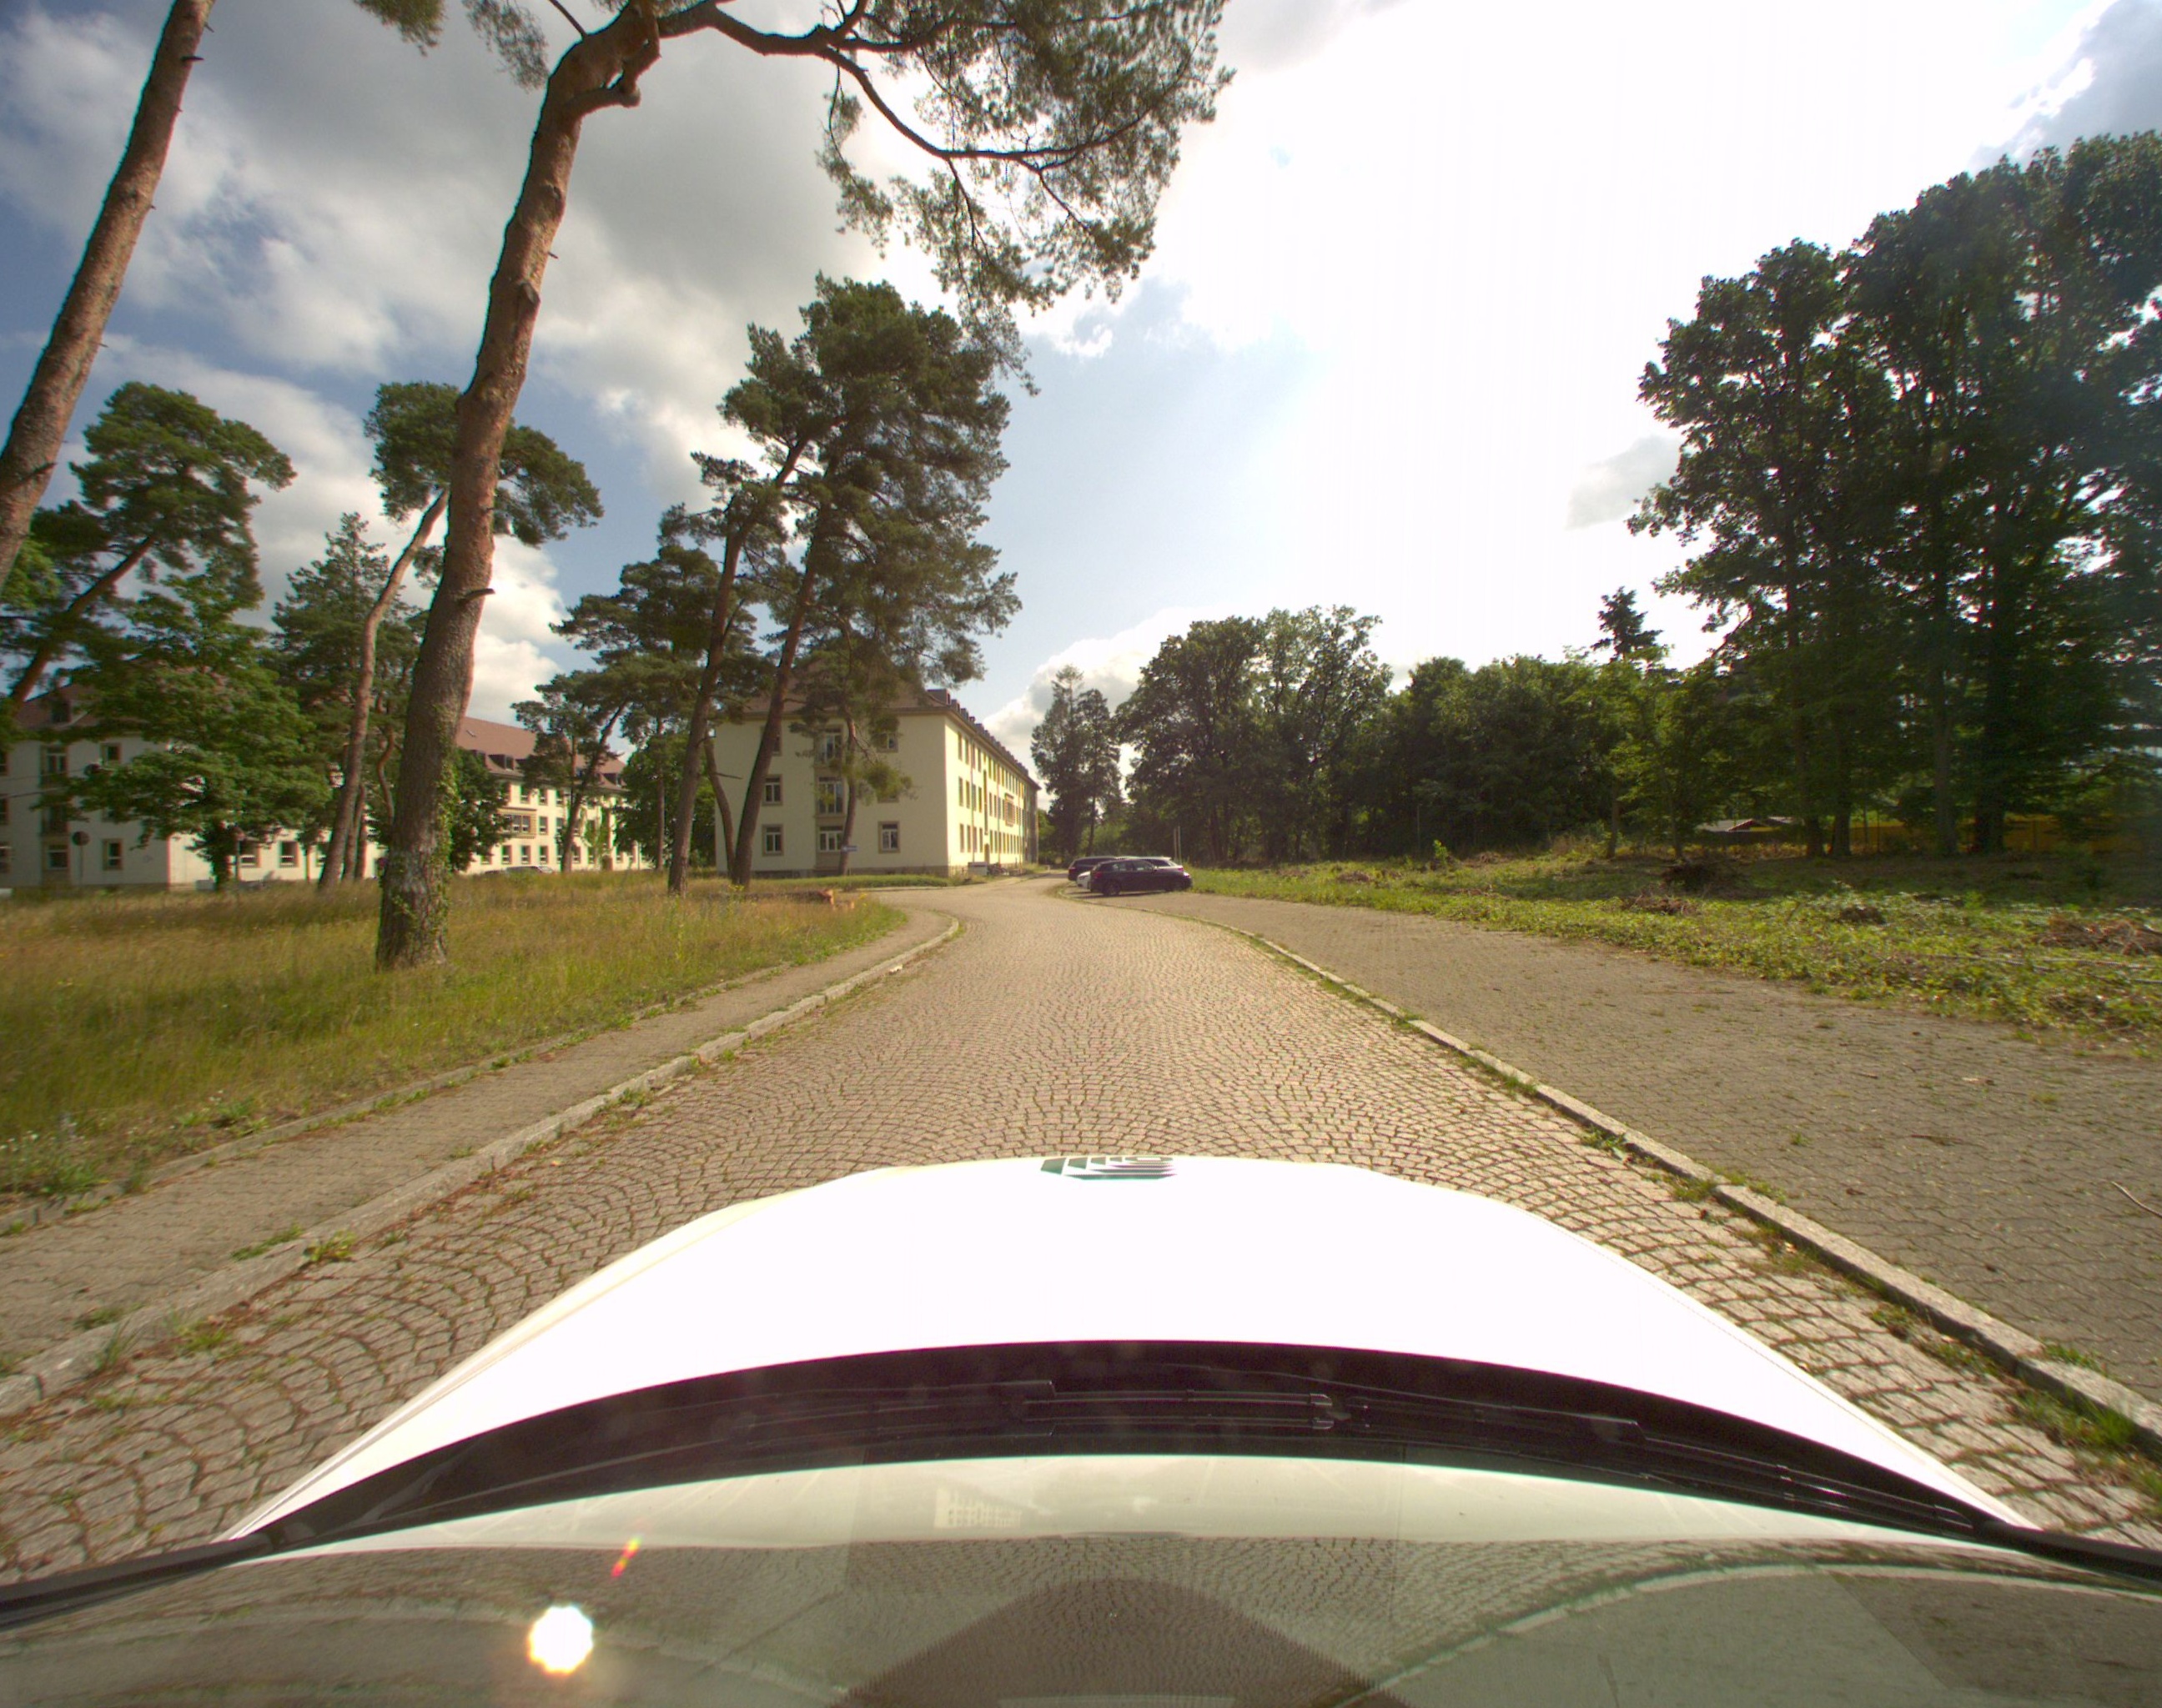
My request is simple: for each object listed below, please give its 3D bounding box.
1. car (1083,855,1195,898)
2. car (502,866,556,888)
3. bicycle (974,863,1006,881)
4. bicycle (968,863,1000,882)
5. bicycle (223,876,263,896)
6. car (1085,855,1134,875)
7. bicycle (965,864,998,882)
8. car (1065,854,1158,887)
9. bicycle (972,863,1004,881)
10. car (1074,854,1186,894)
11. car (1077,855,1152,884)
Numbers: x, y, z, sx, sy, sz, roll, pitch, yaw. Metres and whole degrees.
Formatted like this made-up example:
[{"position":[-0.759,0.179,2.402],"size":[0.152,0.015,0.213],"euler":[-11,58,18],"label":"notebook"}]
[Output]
[{"position":[2.336,0.884,33.457],"size":[4.319,1.500,1.826],"euler":[-3,0,-7],"label":"car"},{"position":[-53.315,2.237,78.702],"size":[4.043,1.991,1.714],"euler":[-2,-1,2],"label":"car"},{"position":[-6.840,1.355,61.190],"size":[2.212,1.260,0.624],"euler":[-2,-1,4],"label":"bicycle"},{"position":[-7.070,1.347,59.454],"size":[2.212,1.260,0.624],"euler":[-2,-1,4],"label":"bicycle"},{"position":[-48.290,1.835,46.939],"size":[0.486,1.101,1.592],"euler":[-2,-1,14],"label":"bicycle"},{"position":[2.532,0.957,72.157],"size":[4.169,1.543,1.822],"euler":[-3,-1,3],"label":"car"},{"position":[-7.135,1.352,58.611],"size":[2.209,1.260,0.624],"euler":[-2,-1,8],"label":"bicycle"},{"position":[1.613,0.884,44.028],"size":[4.837,1.552,1.879],"euler":[-3,-1,0],"label":"car"},{"position":[-6.862,1.359,60.346],"size":[2.209,1.260,0.624],"euler":[-2,-1,8],"label":"bicycle"},{"position":[2.149,0.882,36.659],"size":[4.846,1.472,1.874],"euler":[-3,0,0],"label":"car"},{"position":[2.014,0.930,49.394],"size":[4.384,1.484,1.765],"euler":[-3,-1,0],"label":"car"}]
